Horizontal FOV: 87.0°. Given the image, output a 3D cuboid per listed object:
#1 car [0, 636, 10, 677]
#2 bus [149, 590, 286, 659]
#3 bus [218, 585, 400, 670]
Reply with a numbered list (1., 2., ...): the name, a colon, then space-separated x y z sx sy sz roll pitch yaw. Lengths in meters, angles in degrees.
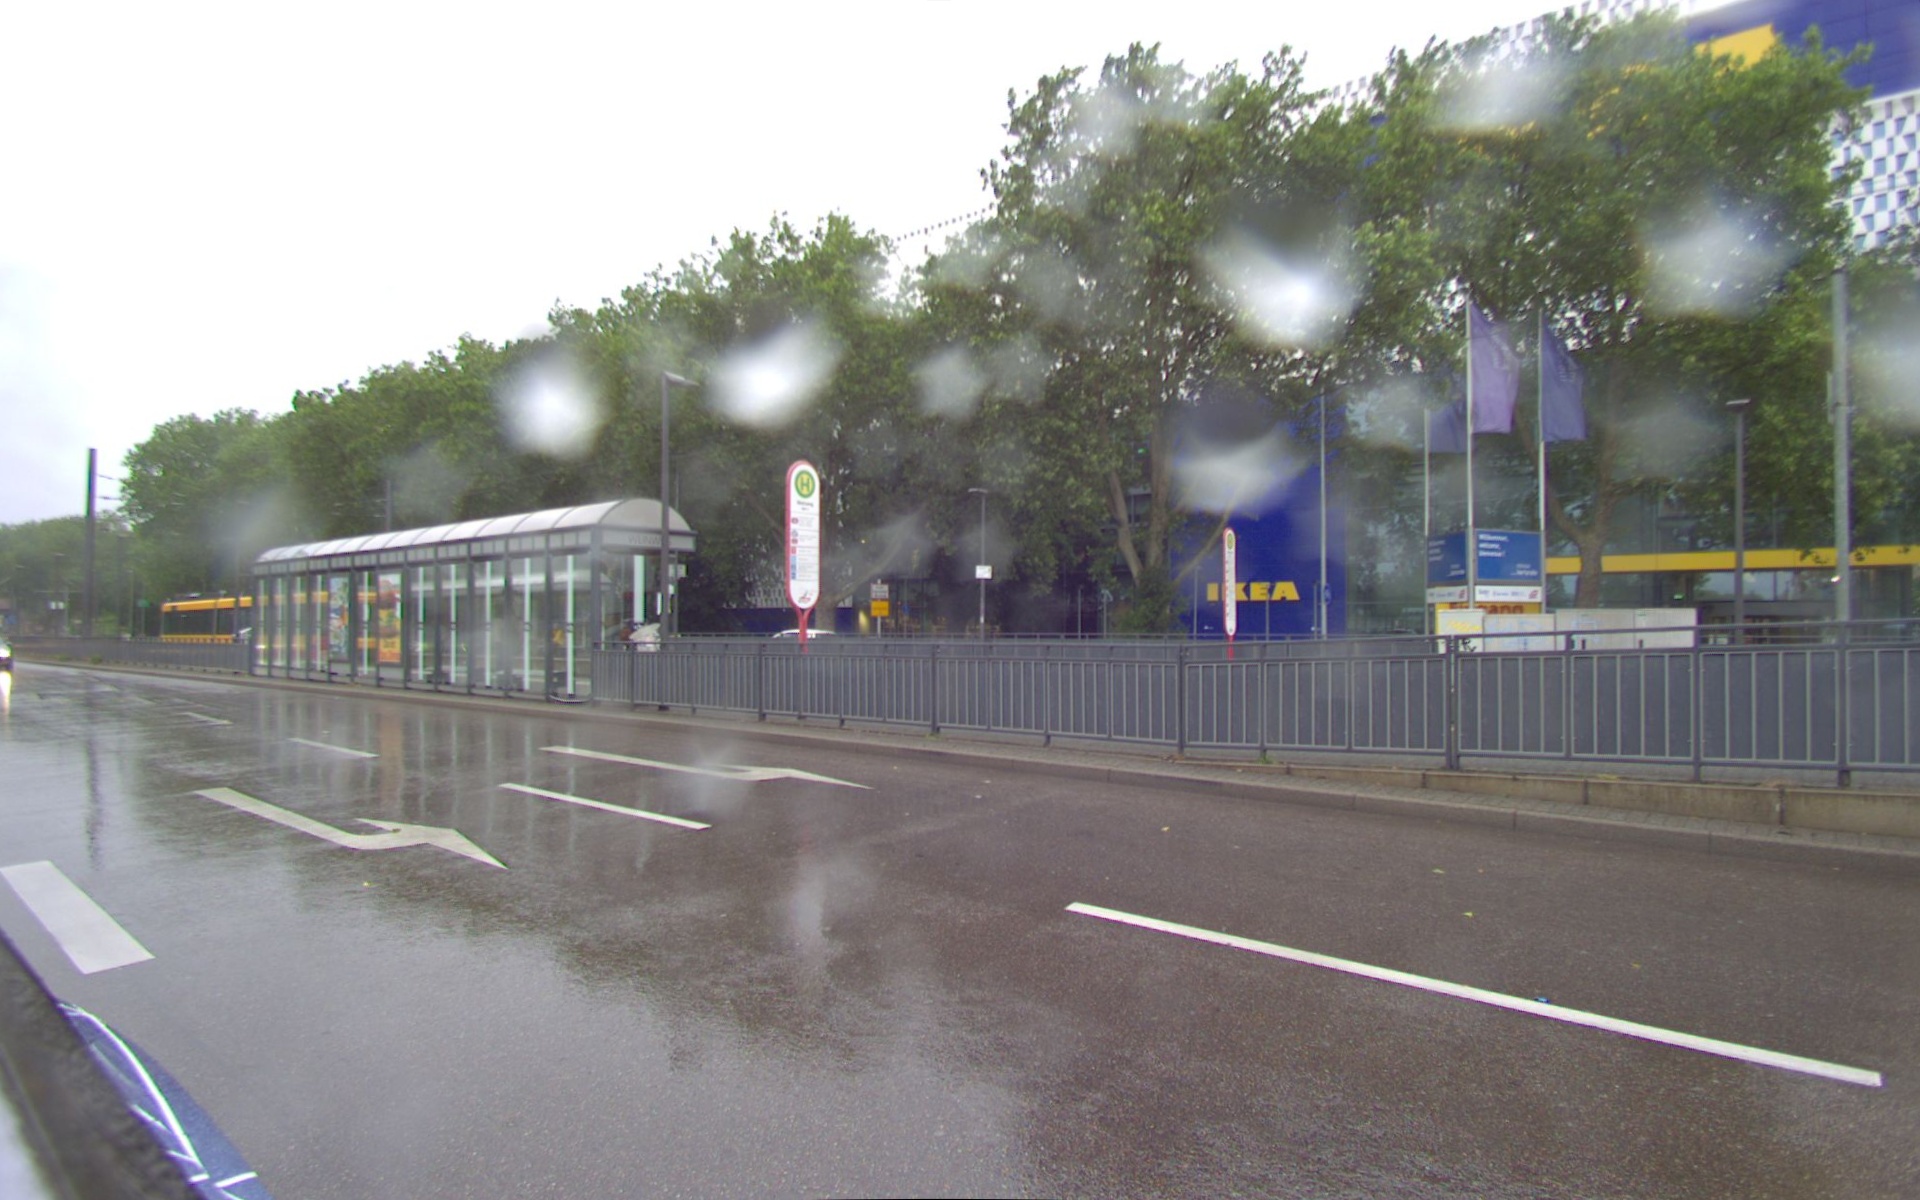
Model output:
1. car: -36.880 2.115 37.770 4.645 1.409 1.743 -1 0 43
2. bus: -41.302 1.273 55.939 15.055 3.354 2.901 -1 0 41
3. bus: -29.926 1.152 45.979 15.056 3.354 2.900 -1 0 41
